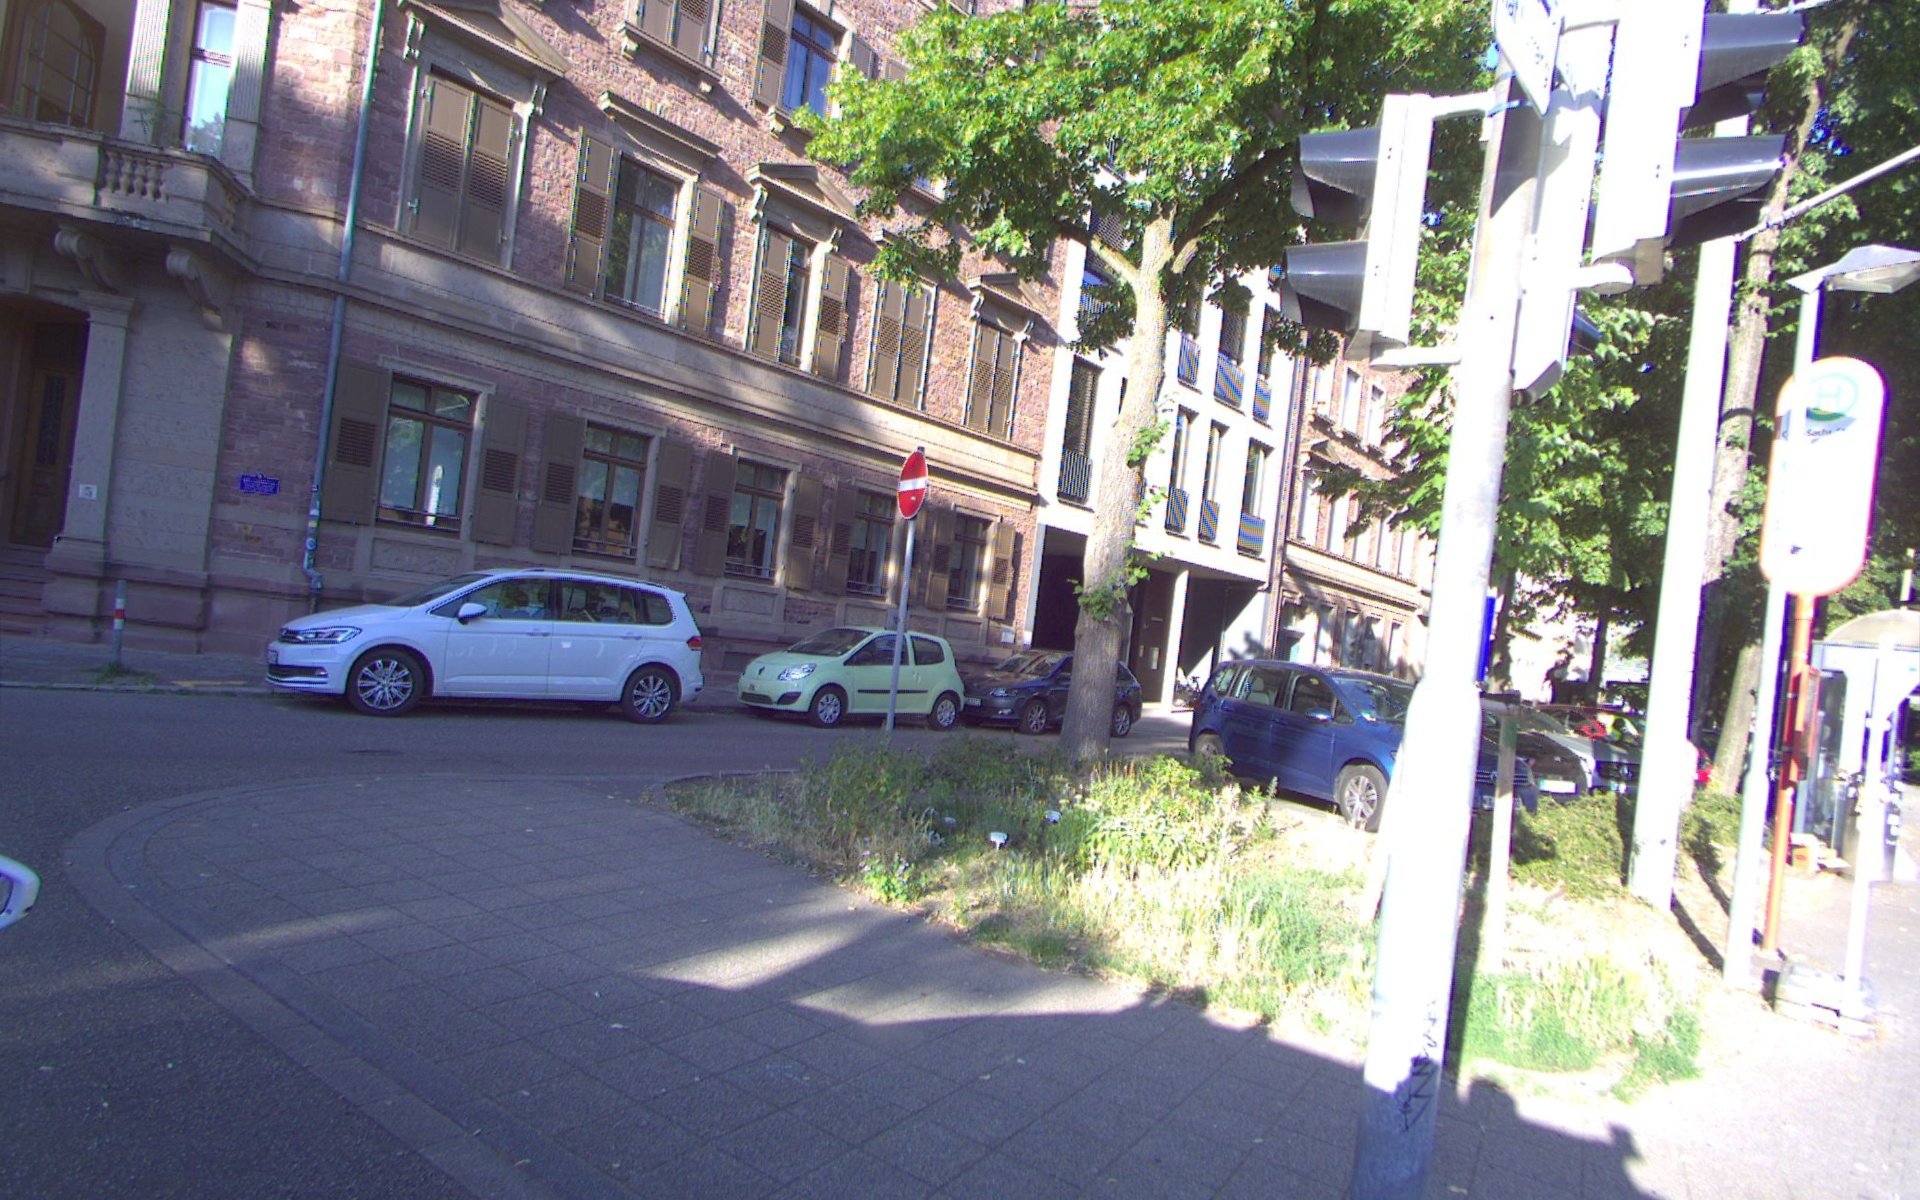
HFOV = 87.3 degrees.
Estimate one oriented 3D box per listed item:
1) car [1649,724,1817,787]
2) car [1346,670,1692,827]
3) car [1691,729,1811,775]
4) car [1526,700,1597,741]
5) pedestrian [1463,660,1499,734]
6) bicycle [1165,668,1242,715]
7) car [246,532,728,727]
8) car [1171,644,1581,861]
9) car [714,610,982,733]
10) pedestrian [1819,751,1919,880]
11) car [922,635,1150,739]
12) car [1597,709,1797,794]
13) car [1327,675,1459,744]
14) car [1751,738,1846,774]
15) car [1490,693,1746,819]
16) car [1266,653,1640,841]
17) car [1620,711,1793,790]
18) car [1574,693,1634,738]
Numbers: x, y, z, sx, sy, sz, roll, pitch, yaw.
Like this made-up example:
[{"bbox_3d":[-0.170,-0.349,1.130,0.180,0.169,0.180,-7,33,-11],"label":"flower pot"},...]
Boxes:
[{"bbox_3d":[26.279,5.265,34.405,1.781,1.294,4.269,8,-1,-15],"label":"car"},{"bbox_3d":[8.275,2.136,15.494,1.900,1.505,4.539,8,-1,-15],"label":"car"},{"bbox_3d":[36.168,6.915,46.118,1.722,1.294,3.987,8,-1,-15],"label":"car"},{"bbox_3d":[28.819,5.794,48.140,1.972,1.586,4.592,7,-1,42],"label":"car"},{"bbox_3d":[22.075,4.105,42.611,0.908,2.983,0.697,7,0,41],"label":"pedestrian"},{"bbox_3d":[7.302,2.733,30.174,2.066,1.130,0.680,8,-1,-18],"label":"bicycle"},{"bbox_3d":[-5.133,0.442,11.393,1.852,1.668,4.473,3,-4,45],"label":"car"},{"bbox_3d":[4.348,1.531,11.403,1.717,1.706,4.406,8,-2,-17],"label":"car"},{"bbox_3d":[-1.586,1.124,15.180,1.720,1.506,3.706,3,-4,44],"label":"car"},{"bbox_3d":[10.674,2.477,11.732,0.872,1.288,0.814,7,0,-44],"label":"pedestrian"},{"bbox_3d":[1.461,1.602,18.143,4.141,1.506,1.721,9,-4,-44],"label":"car"},{"bbox_3d":[20.338,4.151,28.007,1.780,1.505,4.272,8,-1,-12],"label":"car"},{"bbox_3d":[12.930,3.294,29.927,1.974,1.586,4.569,7,-1,44],"label":"car"},{"bbox_3d":[49.740,9.256,59.790,1.722,1.294,3.987,8,-1,-15],"label":"car"},{"bbox_3d":[13.546,3.142,21.134,1.896,1.742,4.549,8,-1,-6],"label":"car"},{"bbox_3d":[6.353,1.826,13.701,1.900,1.654,4.539,8,-1,-15],"label":"car"},{"bbox_3d":[24.197,4.844,32.830,1.780,1.715,4.272,8,-1,-12],"label":"car"},{"bbox_3d":[36.642,6.592,57.186,1.972,2.198,4.592,8,-1,42],"label":"car"}]
